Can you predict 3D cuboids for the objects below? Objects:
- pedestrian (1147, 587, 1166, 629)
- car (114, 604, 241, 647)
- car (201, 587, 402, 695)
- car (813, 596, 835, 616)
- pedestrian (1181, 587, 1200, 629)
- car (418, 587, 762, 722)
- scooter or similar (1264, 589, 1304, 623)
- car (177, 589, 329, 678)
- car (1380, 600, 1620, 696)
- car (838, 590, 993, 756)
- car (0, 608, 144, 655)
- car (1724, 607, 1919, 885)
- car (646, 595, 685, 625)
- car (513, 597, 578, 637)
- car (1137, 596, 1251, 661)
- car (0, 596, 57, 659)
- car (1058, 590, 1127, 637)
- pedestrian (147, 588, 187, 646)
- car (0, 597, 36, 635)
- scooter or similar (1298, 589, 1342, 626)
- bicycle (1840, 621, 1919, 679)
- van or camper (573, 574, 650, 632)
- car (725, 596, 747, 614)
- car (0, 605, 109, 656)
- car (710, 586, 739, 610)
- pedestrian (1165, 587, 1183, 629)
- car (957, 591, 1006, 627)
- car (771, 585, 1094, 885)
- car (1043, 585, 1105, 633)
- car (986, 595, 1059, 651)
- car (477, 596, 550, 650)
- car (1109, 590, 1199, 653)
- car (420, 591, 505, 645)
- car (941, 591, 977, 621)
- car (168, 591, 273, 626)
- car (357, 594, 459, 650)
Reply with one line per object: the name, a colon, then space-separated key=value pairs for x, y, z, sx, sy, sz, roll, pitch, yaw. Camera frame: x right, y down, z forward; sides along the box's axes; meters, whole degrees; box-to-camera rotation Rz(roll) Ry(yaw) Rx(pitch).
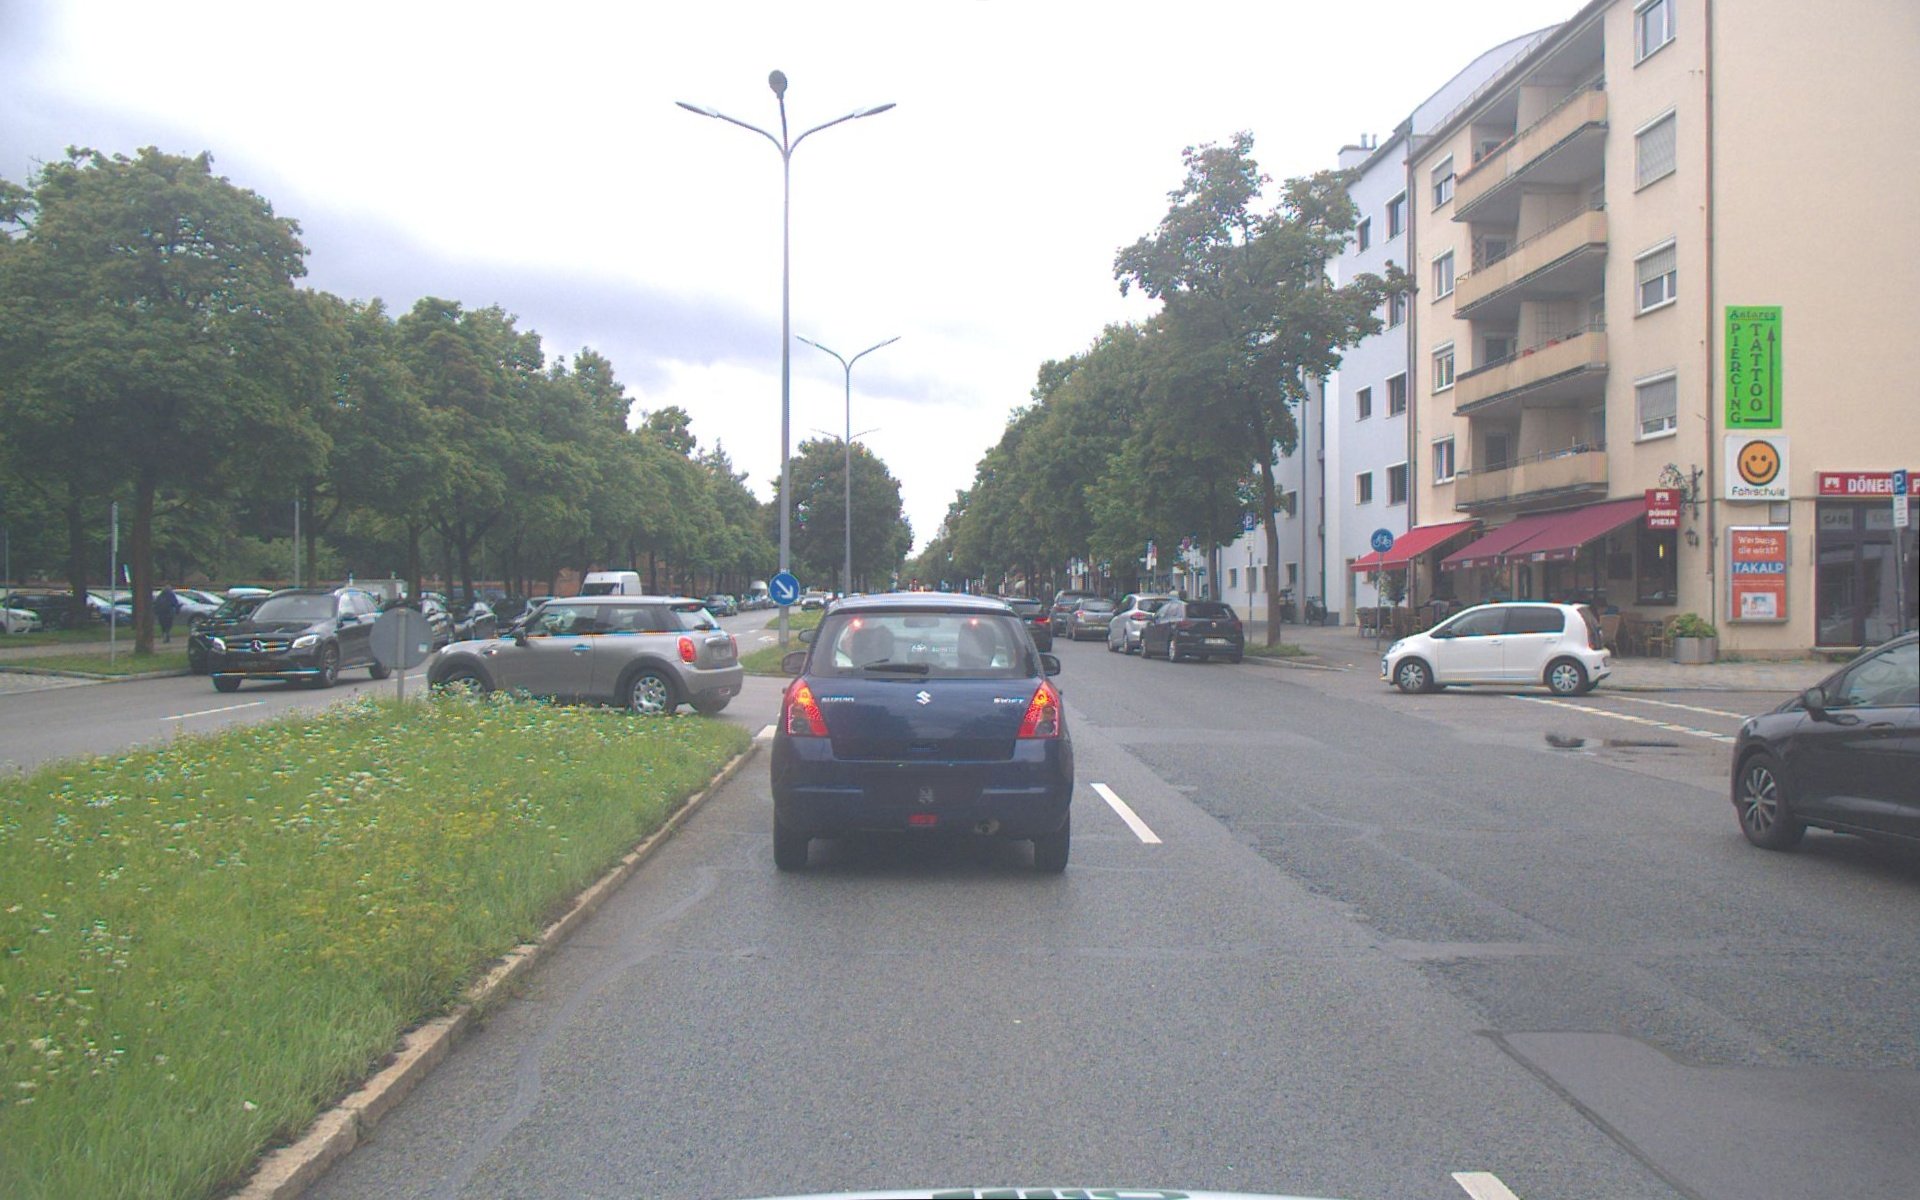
pedestrian: x=9.638 y=0.379 z=81.021 sx=0.778 sy=2.049 sz=1.006 roll=0 pitch=0 yaw=-1
car: x=-28.208 y=0.925 z=59.705 sx=3.792 sy=1.471 sz=1.670 roll=1 pitch=0 yaw=-7
car: x=-11.214 y=0.635 z=28.527 sx=1.731 sy=1.651 sz=4.505 roll=-2 pitch=0 yaw=-2
car: x=-10.976 y=0.503 z=133.411 sx=1.599 sy=1.580 sz=3.877 roll=1 pitch=0 yaw=-2
pedestrian: x=11.268 y=0.403 z=81.036 sx=0.778 sy=2.049 sz=1.006 roll=0 pitch=0 yaw=-1
car: x=-4.381 y=0.595 z=19.729 sx=3.643 sy=1.488 sz=1.689 roll=0 pitch=0 yaw=16
scooter or similar: x=12.978 y=0.244 z=66.283 sx=1.012 sy=1.330 sz=2.755 roll=0 pitch=0 yaw=-1
car: x=-15.029 y=0.683 z=35.381 sx=1.682 sy=1.771 sz=3.877 roll=1 pitch=0 yaw=-2
car: x=8.810 y=0.740 z=26.984 sx=3.480 sy=1.442 sz=1.869 roll=0 pitch=0 yaw=28
car: x=-0.469 y=0.662 z=16.732 sx=1.415 sy=1.509 sz=3.105 roll=0 pitch=0 yaw=-3
car: x=-29.083 y=1.036 z=54.251 sx=3.792 sy=1.471 sz=1.670 roll=1 pitch=0 yaw=-7
car: x=5.976 y=0.817 z=9.259 sx=1.584 sy=1.491 sz=3.673 roll=2 pitch=0 yaw=-2
car: x=-16.446 y=0.552 z=92.555 sx=1.599 sy=1.610 sz=3.877 roll=1 pitch=0 yaw=-2
car: x=-15.706 y=0.633 z=62.862 sx=1.599 sy=1.456 sz=3.877 roll=1 pitch=0 yaw=-2
car: x=5.558 y=0.648 z=39.765 sx=1.829 sy=1.442 sz=4.220 roll=0 pitch=0 yaw=-5
car: x=-28.210 y=0.764 z=47.267 sx=3.844 sy=1.748 sz=1.670 roll=1 pitch=0 yaw=-7
car: x=4.590 y=0.445 z=57.778 sx=1.828 sy=1.544 sz=4.222 roll=0 pitch=0 yaw=-3
pedestrian: x=-21.691 y=0.460 z=45.262 sx=0.713 sy=1.561 sz=0.720 roll=1 pitch=0 yaw=-1
car: x=-39.797 y=0.600 z=66.257 sx=4.596 sy=1.471 sz=1.672 roll=1 pitch=0 yaw=-1
scooter or similar: x=13.433 y=0.273 z=61.822 sx=1.012 sy=1.330 sz=2.755 roll=0 pitch=0 yaw=-1
bicycle: x=16.223 y=0.863 z=28.516 sx=1.810 sy=0.974 sz=0.557 roll=1 pitch=0 yaw=-3
van or camper: x=-16.147 y=0.122 z=77.035 sx=2.074 sy=2.525 sz=7.447 roll=1 pitch=0 yaw=-1
car: x=-19.707 y=0.431 z=145.595 sx=1.599 sy=1.610 sz=3.877 roll=1 pitch=0 yaw=-2
car: x=-28.126 y=0.907 z=50.122 sx=3.792 sy=1.471 sz=1.670 roll=1 pitch=0 yaw=-7
car: x=-16.431 y=-0.118 z=115.585 sx=1.599 sy=1.610 sz=3.877 roll=1 pitch=0 yaw=-2
pedestrian: x=10.469 y=0.391 z=80.945 sx=0.778 sy=2.049 sz=1.006 roll=0 pitch=0 yaw=-1
car: x=0.897 y=0.359 z=71.573 sx=1.697 sy=1.457 sz=4.438 roll=1 pitch=0 yaw=-5
car: x=-0.221 y=0.679 z=10.438 sx=1.648 sy=1.528 sz=3.917 roll=0 pitch=0 yaw=-3
car: x=4.274 y=0.315 z=62.464 sx=1.828 sy=1.712 sz=4.222 roll=0 pitch=0 yaw=-3
car: x=1.694 y=0.601 z=45.959 sx=1.723 sy=1.438 sz=4.461 roll=1 pitch=0 yaw=-2
car: x=-15.476 y=0.777 z=57.533 sx=1.599 sy=1.771 sz=3.877 roll=1 pitch=0 yaw=-2
car: x=5.157 y=0.543 z=44.501 sx=1.756 sy=1.585 sz=4.222 roll=0 pitch=0 yaw=-2
car: x=-15.349 y=0.542 z=51.159 sx=1.559 sy=1.585 sz=3.877 roll=1 pitch=0 yaw=-2
car: x=-0.058 y=0.295 z=81.899 sx=1.648 sy=1.408 sz=3.917 roll=1 pitch=0 yaw=-2
car: x=-32.040 y=0.368 z=71.707 sx=3.792 sy=1.471 sz=1.670 roll=1 pitch=0 yaw=-7
car: x=-15.189 y=0.587 z=45.723 sx=1.634 sy=1.471 sz=3.877 roll=1 pitch=0 yaw=-2
